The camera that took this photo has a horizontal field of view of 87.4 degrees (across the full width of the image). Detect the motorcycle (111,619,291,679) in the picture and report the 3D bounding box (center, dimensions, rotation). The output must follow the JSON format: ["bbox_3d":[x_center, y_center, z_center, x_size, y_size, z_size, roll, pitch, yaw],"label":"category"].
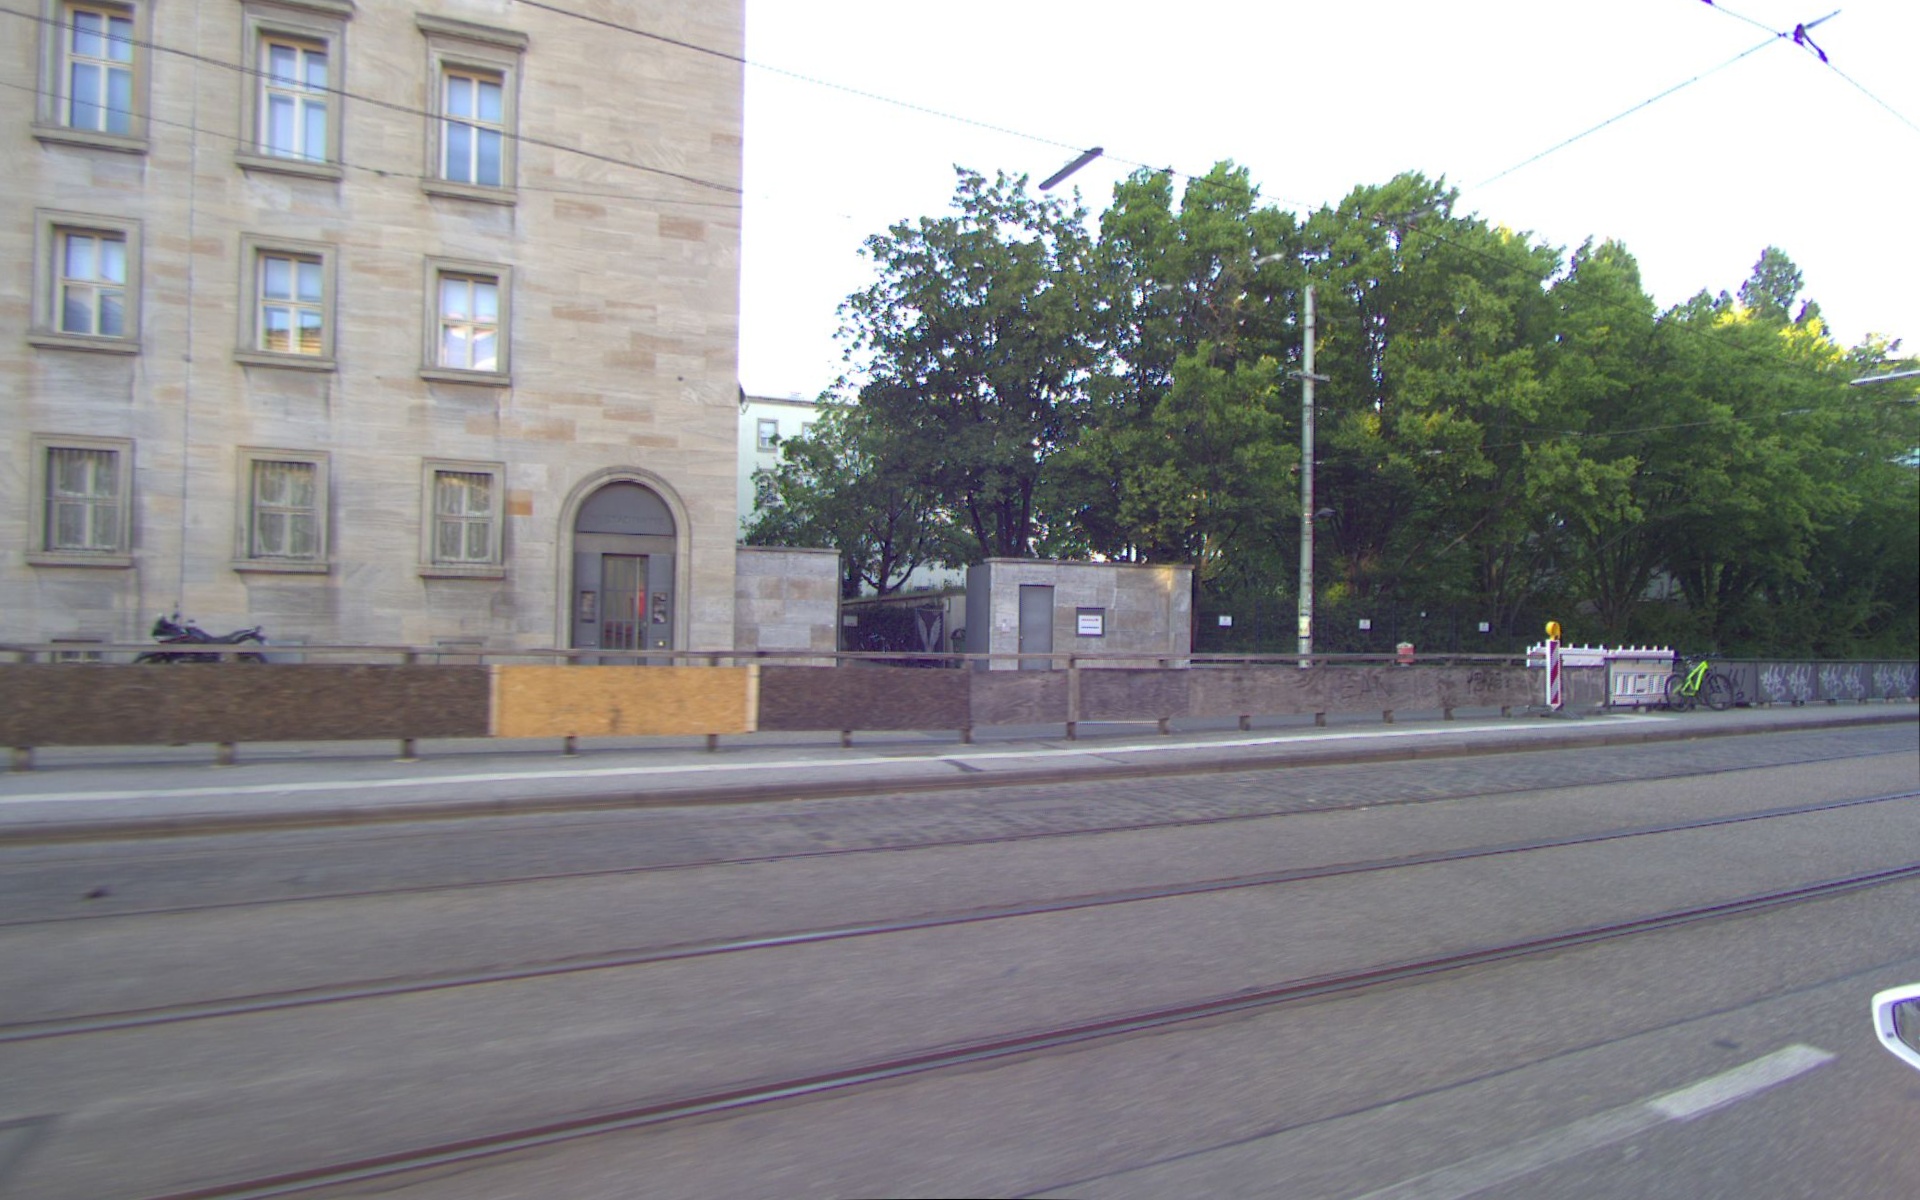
[{"bbox_3d":[-14.420,0.939,19.166,2.612,1.089,0.698,1,-2,-19],"label":"motorcycle"}]

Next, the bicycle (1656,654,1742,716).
[{"bbox_3d":[13.634,1.554,18.518,1.996,1.089,0.460,2,-2,-28],"label":"bicycle"}]
